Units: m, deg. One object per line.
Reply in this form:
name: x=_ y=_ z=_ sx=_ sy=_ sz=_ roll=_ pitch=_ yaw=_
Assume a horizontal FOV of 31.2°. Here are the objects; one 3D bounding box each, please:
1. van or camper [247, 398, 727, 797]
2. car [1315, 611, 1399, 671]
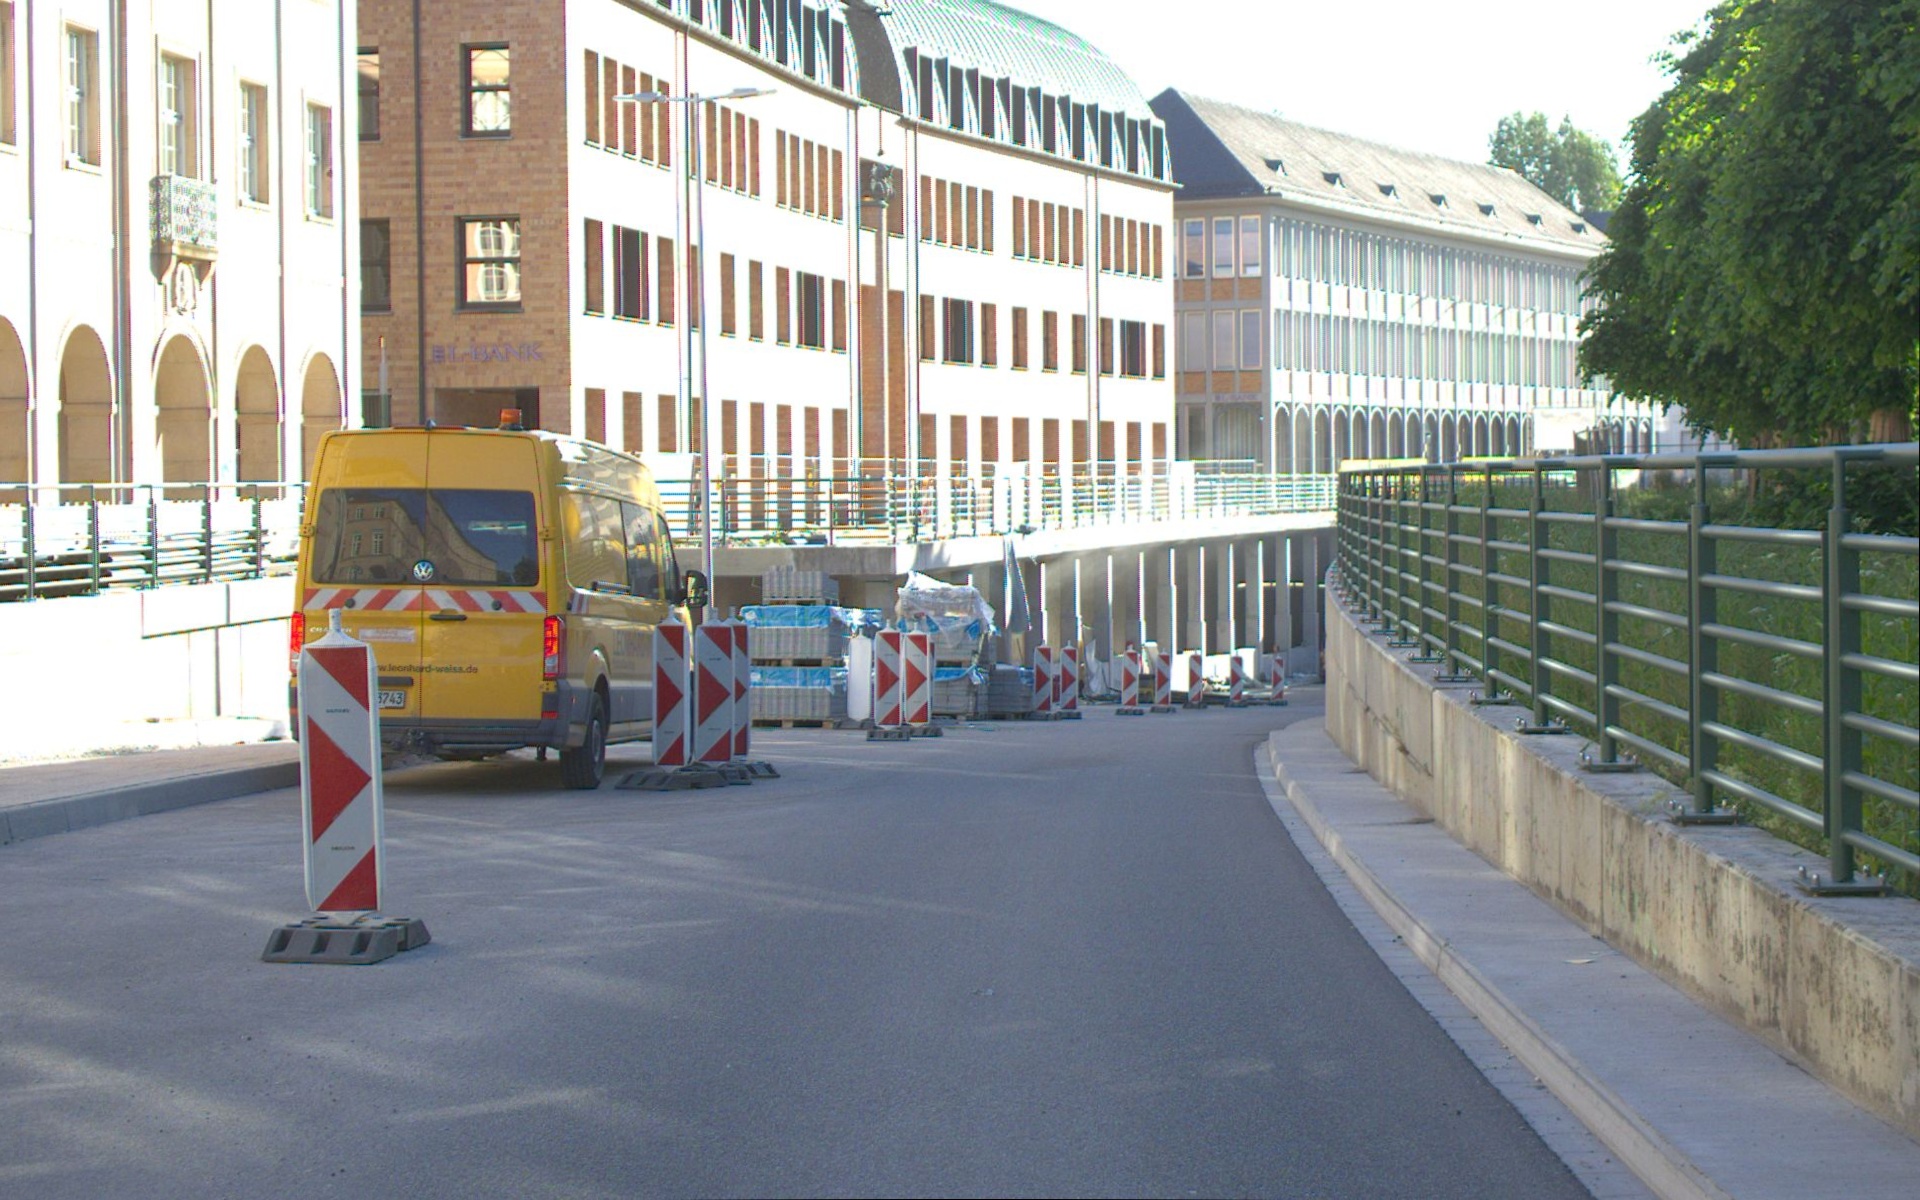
van or camper: x=-3.412 y=0.006 z=26.482 sx=2.194 sy=2.604 sz=6.823 roll=2 pitch=0 yaw=4
car: x=12.859 y=1.299 z=111.254 sx=1.850 sy=1.769 sz=4.430 roll=1 pitch=2 yaw=18
